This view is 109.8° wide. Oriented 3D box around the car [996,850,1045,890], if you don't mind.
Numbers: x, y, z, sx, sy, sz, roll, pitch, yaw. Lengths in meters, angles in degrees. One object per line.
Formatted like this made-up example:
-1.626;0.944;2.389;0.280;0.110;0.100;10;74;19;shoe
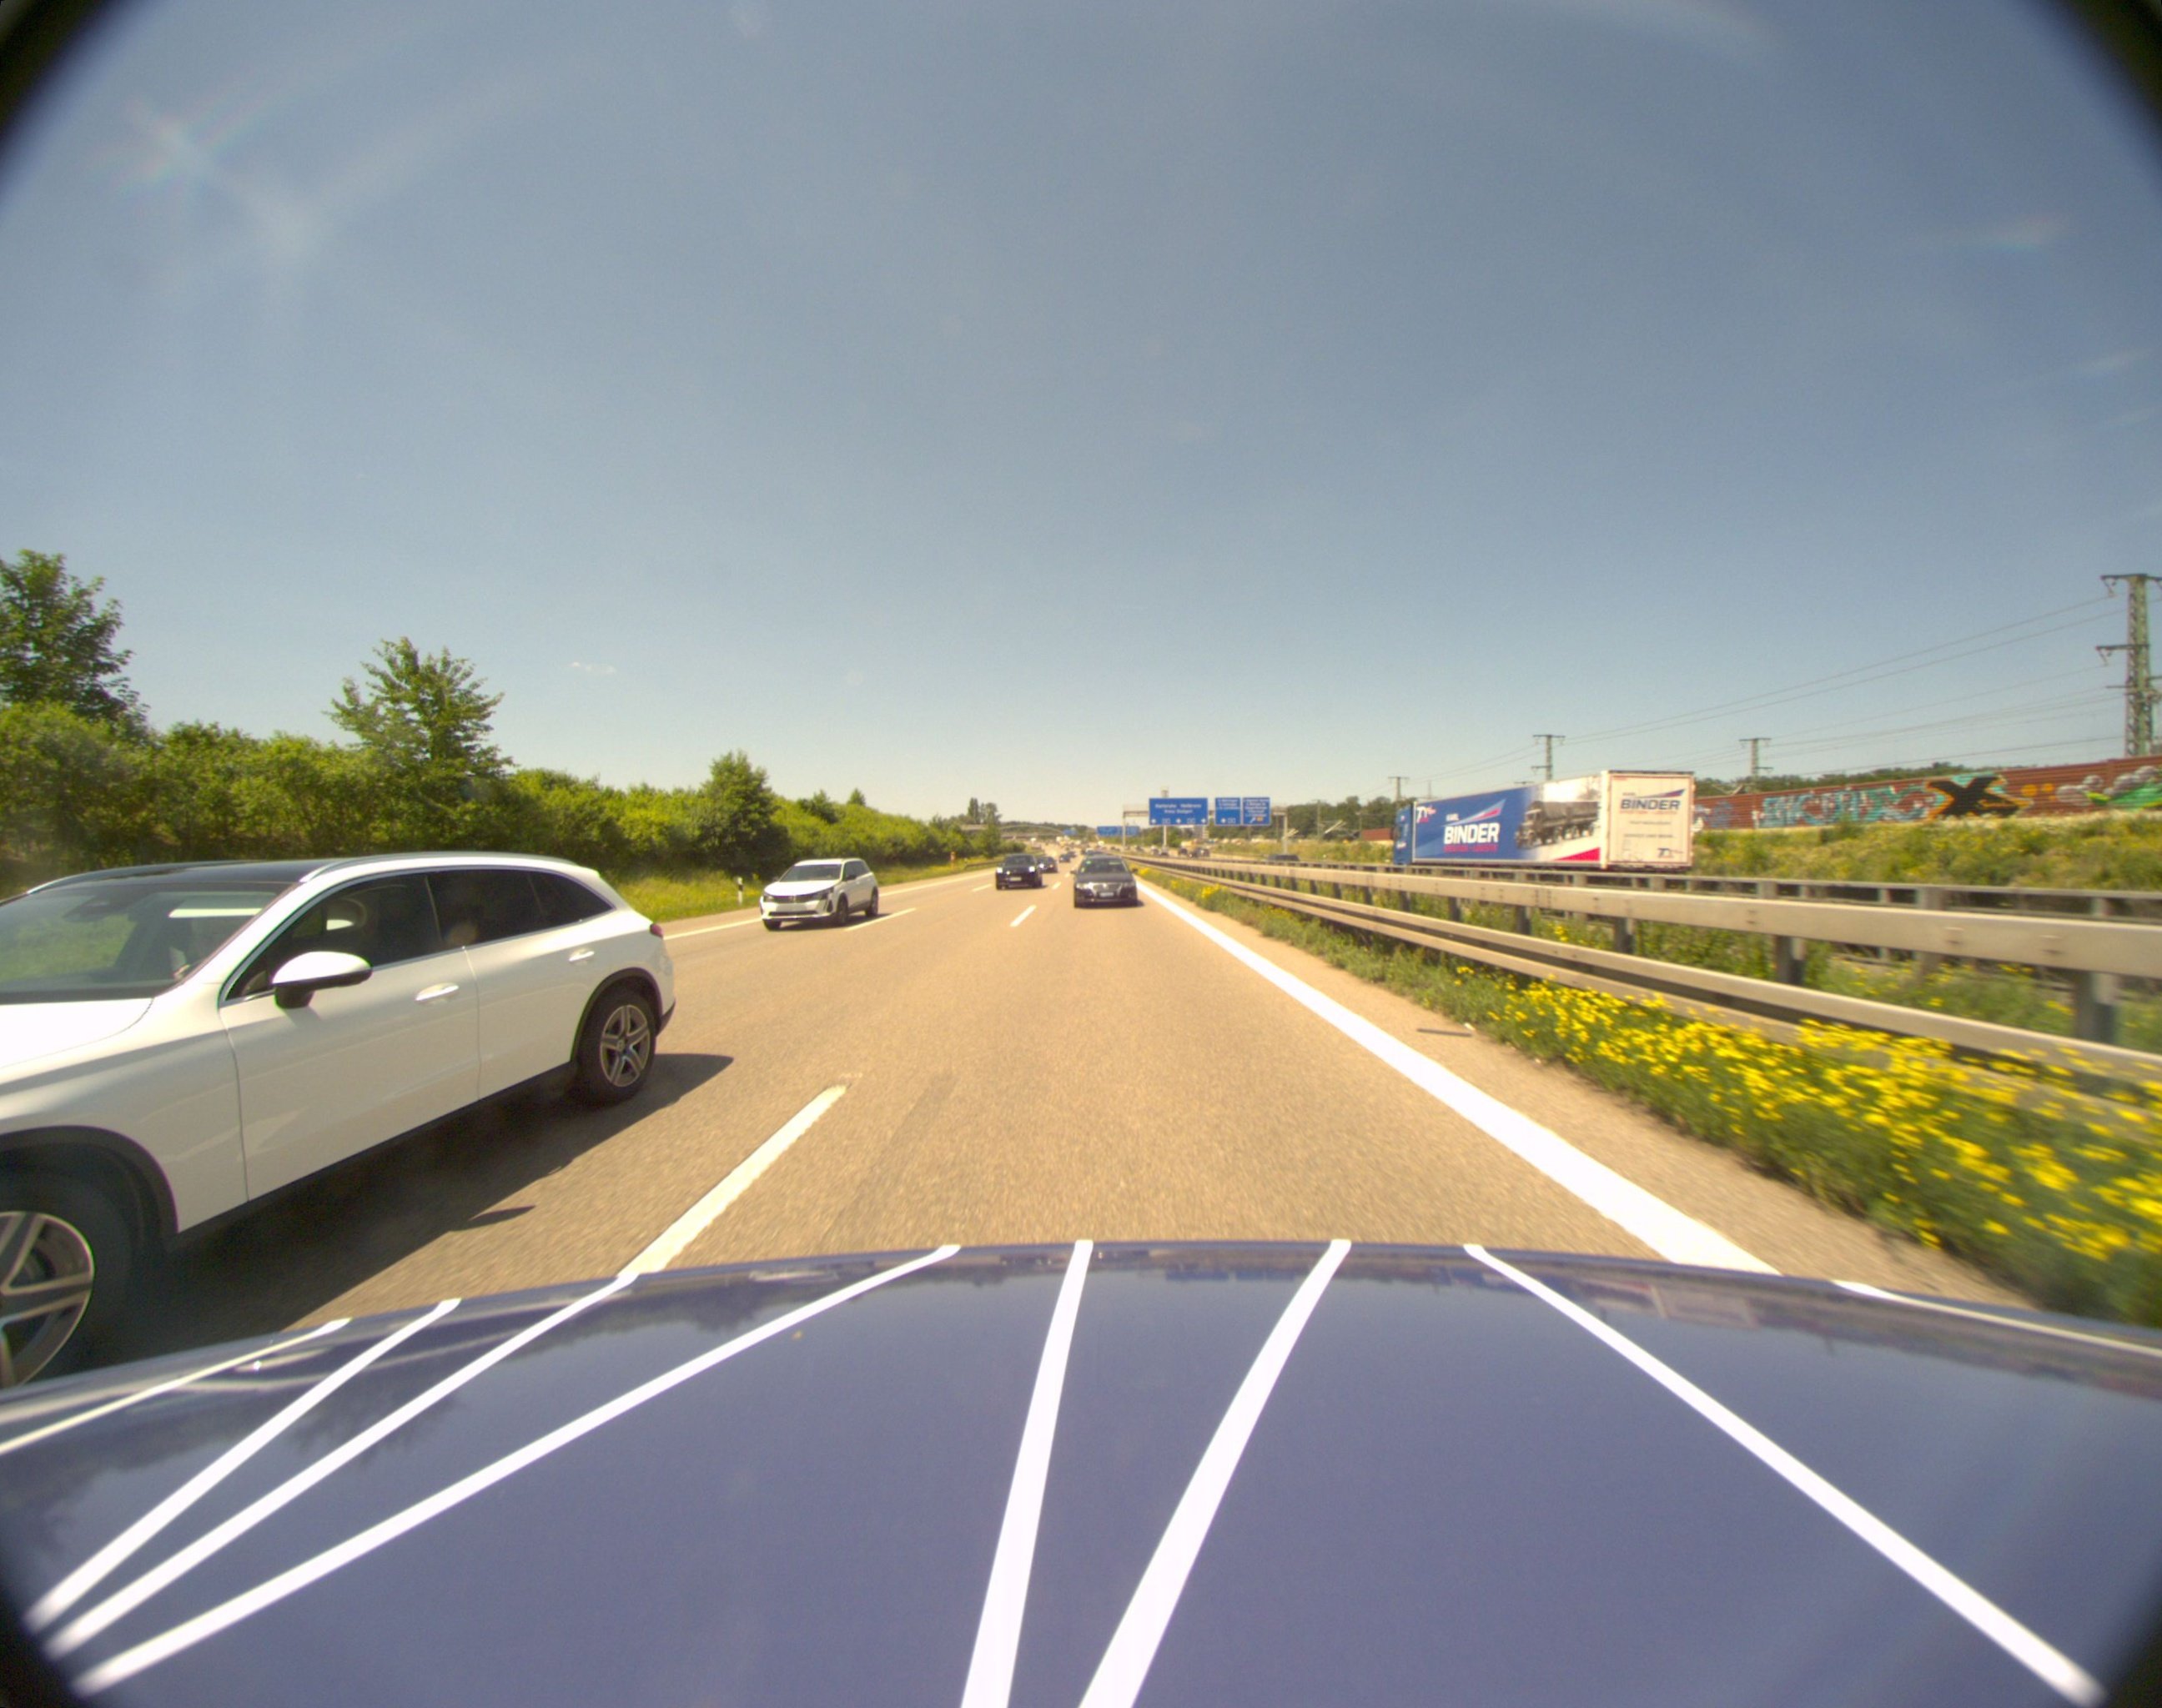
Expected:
-2.804;0.711;36.174;1.983;1.620;4.615;-3;1;-1;car

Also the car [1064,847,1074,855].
-2.635;-0.658;164.404;1.999;1.691;3.999;-2;1;0;car

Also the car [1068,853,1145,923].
0.583;0.798;19.703;1.752;1.462;3.999;-2;1;0;car

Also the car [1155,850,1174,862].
11.059;0.253;100.627;1.998;1.455;4.385;-2;0;1;car

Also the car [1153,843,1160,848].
26.467;-2.857;265.611;1.998;1.567;4.476;-2;1;1;car

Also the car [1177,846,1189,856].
22.618;-0.605;168.395;1.998;2.002;4.308;-3;2;1;car

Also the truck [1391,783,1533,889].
17.243;-0.756;35.075;2.895;4.382;7.503;0;0;1;truck

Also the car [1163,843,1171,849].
26.592;-2.466;234.086;1.998;1.875;4.977;-2;1;2;car

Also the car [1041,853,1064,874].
-2.243;0.699;60.080;1.752;1.462;3.998;-2;1;-2;car

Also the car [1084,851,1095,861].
1.587;0.336;139.786;1.999;1.691;3.999;-2;1;0;car

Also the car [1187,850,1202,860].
18.822;0.141;125.980;1.998;1.478;3.931;0;1;1;car

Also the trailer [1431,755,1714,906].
17.101;-0.715;28.203;2.895;4.382;12.091;0;0;1;trailer

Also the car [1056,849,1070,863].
-2.751;0.301;115.321;1.999;2.002;3.999;-2;1;0;car

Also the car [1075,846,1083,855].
-0.484;-0.863;186.009;1.998;2.002;3.999;-3;2;1;car

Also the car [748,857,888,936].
-6.534;0.972;19.504;1.898;1.620;4.616;-2;1;0;car

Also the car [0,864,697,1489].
-3.935;0.951;3.453;1.909;1.646;4.636;-2;0;1;car

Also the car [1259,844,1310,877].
11.355;0.328;42.581;1.723;1.625;4.191;-3;1;1;car

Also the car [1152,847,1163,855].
15.812;-0.677;157.438;1.998;1.686;4.188;-1;1;1;car

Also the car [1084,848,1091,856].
1.853;-0.613;218.108;1.998;2.002;3.999;-3;2;1;car

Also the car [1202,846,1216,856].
24.627;-0.615;146.294;1.998;1.716;4.512;-2;1;1;car
